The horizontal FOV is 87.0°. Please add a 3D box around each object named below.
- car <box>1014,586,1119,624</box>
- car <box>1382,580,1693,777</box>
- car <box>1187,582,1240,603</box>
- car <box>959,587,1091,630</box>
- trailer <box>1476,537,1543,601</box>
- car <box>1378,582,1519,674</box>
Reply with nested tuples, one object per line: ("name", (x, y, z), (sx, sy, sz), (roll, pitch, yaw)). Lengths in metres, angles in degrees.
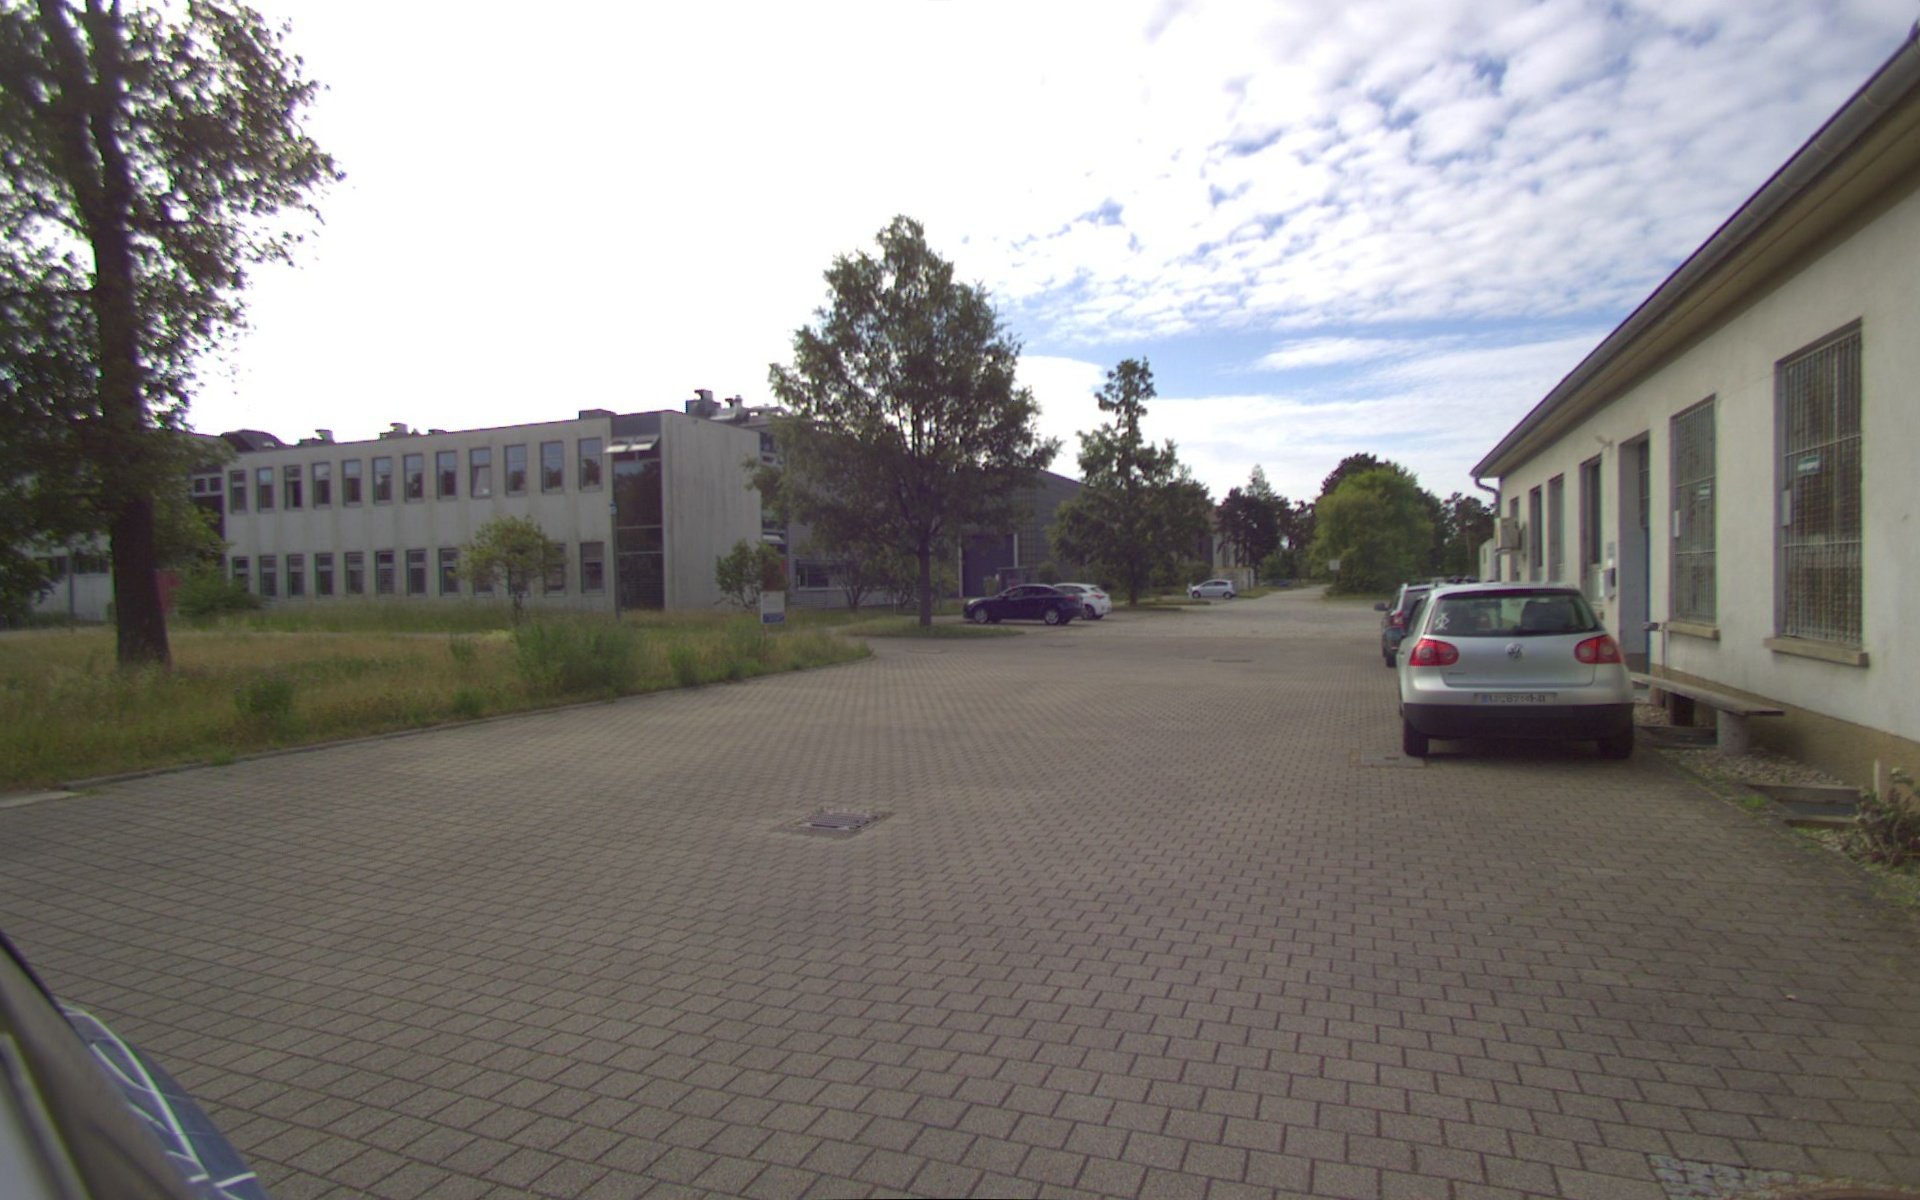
("car", (4.390, 0.188, 41.760), (3.962, 1.477, 1.869), (0, 1, 23))
("car", (5.240, 0.571, 9.825), (1.917, 1.450, 4.338), (-2, 0, 21))
("car", (21.170, -0.642, 84.448), (4.104, 1.637, 1.926), (1, 2, 20))
("car", (2.378, 0.272, 36.853), (4.448, 1.458, 1.930), (1, 1, 23))
("trailer", (34.582, -1.883, 64.016), (2.861, 3.689, 10.690), (-1, 1, 24))
("car", (8.921, 0.424, 18.853), (1.917, 1.472, 4.778), (-1, 1, 21))
